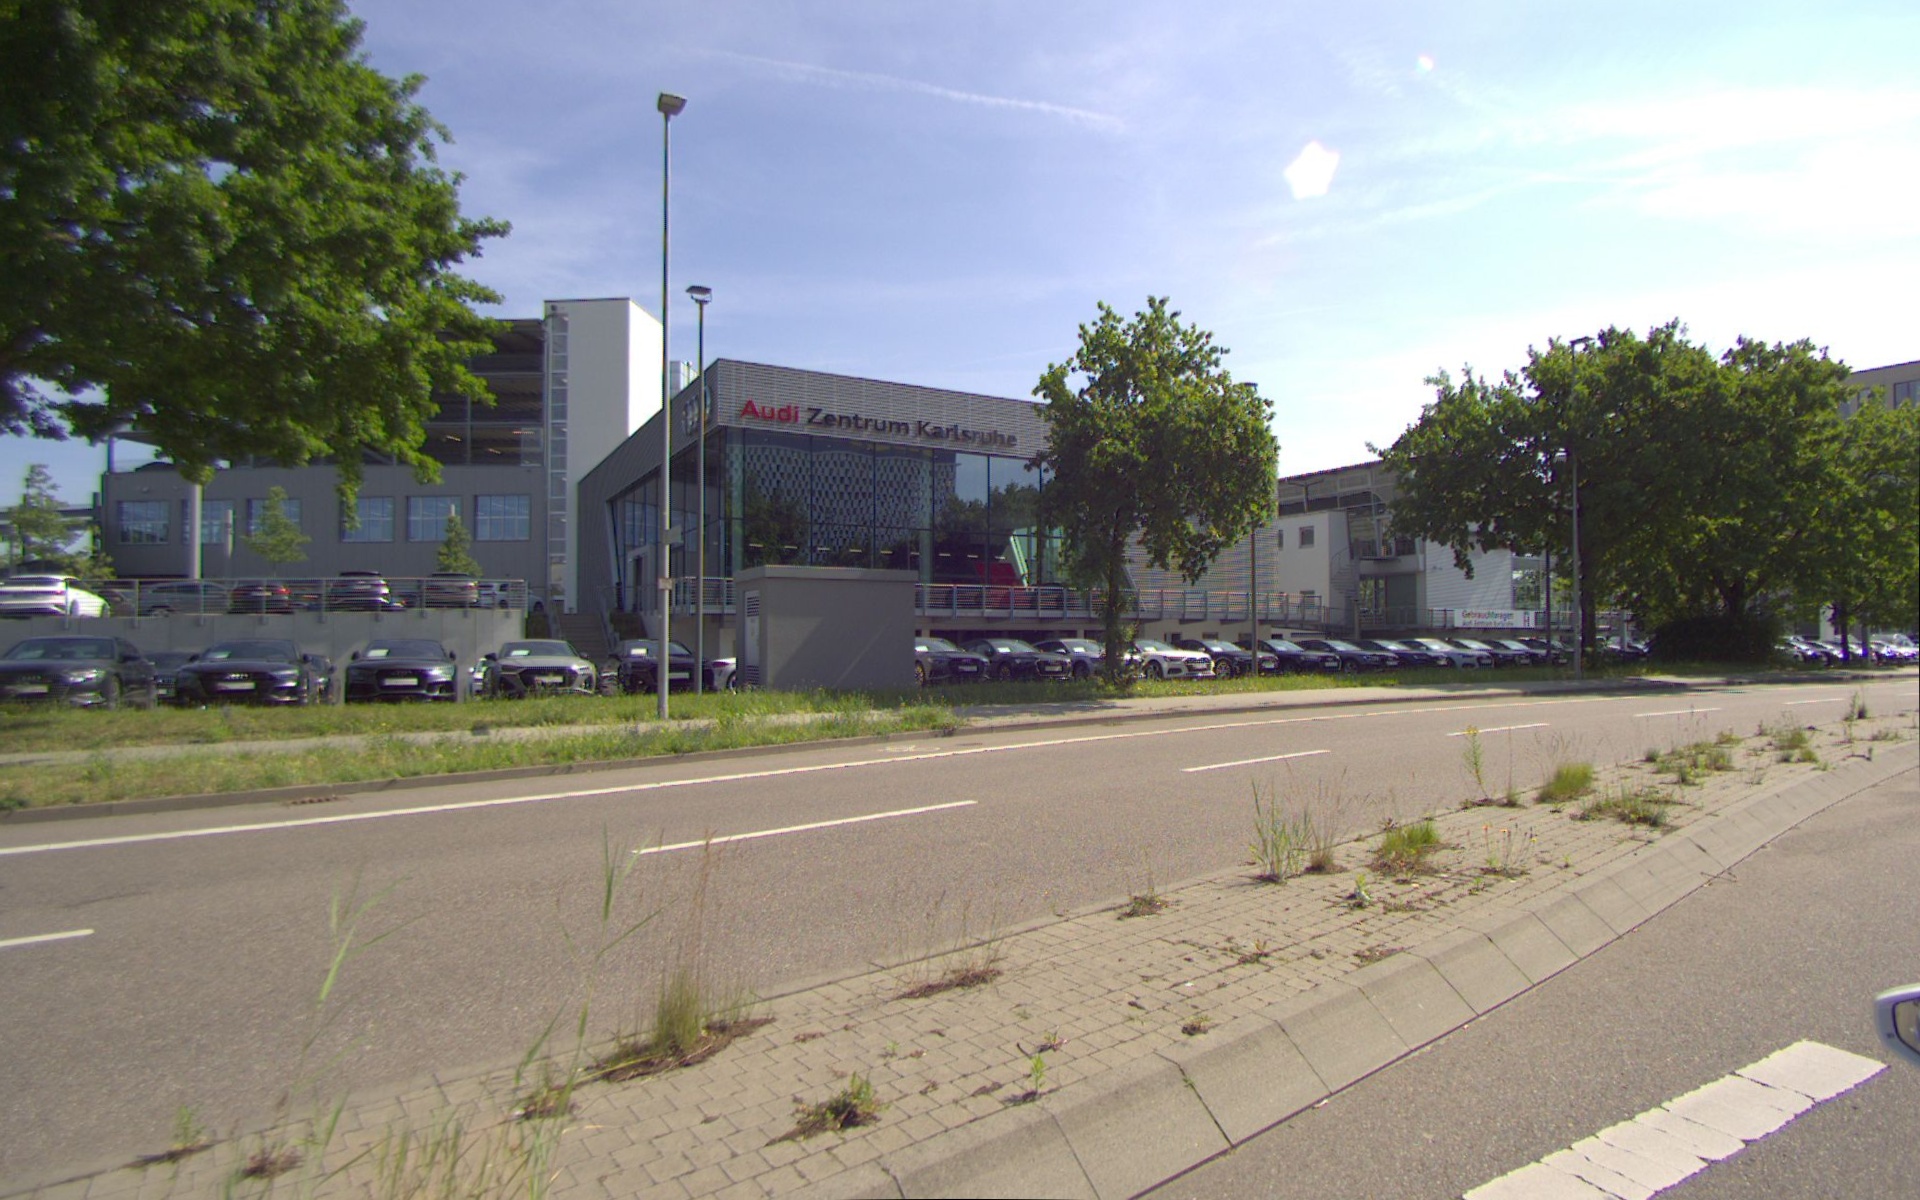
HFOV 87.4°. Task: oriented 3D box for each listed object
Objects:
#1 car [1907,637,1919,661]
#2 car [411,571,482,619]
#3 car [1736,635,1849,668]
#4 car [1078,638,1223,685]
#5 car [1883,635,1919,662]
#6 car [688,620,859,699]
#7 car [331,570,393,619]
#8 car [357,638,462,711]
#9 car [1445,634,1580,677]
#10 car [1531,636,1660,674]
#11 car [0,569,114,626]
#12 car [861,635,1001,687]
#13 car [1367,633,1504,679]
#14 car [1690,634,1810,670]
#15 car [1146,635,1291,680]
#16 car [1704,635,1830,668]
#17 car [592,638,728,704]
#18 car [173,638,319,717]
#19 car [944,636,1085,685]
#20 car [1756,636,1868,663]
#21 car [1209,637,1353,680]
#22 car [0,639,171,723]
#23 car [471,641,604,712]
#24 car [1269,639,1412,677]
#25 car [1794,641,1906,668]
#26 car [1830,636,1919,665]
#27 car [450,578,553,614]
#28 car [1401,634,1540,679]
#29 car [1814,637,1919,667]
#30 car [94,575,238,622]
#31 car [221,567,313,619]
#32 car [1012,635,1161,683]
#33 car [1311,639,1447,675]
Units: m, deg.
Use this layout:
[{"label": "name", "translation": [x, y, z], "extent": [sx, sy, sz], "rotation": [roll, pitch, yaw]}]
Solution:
[{"label": "car", "translation": [59.162, 2.841, 59.832], "extent": [1.620, 1.375, 3.581], "rotation": [0, -5, -28]}, {"label": "car", "translation": [-17.745, -0.136, 34.616], "extent": [1.962, 1.515, 4.499], "rotation": [1, -1, -30]}, {"label": "car", "translation": [40.635, 2.538, 49.145], "extent": [1.638, 1.437, 3.864], "rotation": [0, -5, -26]}, {"label": "car", "translation": [5.556, 1.845, 29.766], "extent": [1.933, 1.205, 4.155], "rotation": [1, -5, -31]}, {"label": "car", "translation": [56.887, 2.786, 58.697], "extent": [1.844, 1.483, 3.862], "rotation": [0, -5, -28]}, {"label": "car", "translation": [-4.798, 1.488, 25.924], "extent": [3.953, 1.901, 1.984], "rotation": [1, -2, -30]}, {"label": "car", "translation": [-19.788, -0.162, 33.347], "extent": [1.648, 1.515, 3.969], "rotation": [1, -1, -30]}, {"label": "car", "translation": [-11.207, 1.416, 20.327], "extent": [1.672, 1.307, 4.477], "rotation": [1, -2, -31]}, {"label": "car", "translation": [21.316, 2.163, 38.935], "extent": [1.976, 1.460, 4.124], "rotation": [1, -6, -29]}, {"label": "car", "translation": [26.104, 2.287, 41.382], "extent": [1.976, 1.376, 3.973], "rotation": [1, -6, -29]}, {"label": "car", "translation": [-26.696, -0.015, 29.624], "extent": [1.957, 1.504, 4.477], "rotation": [1, -2, -31]}, {"label": "car", "translation": [-0.834, 1.601, 25.907], "extent": [1.876, 1.171, 3.969], "rotation": [1, -5, -31]}, {"label": "car", "translation": [16.912, 2.030, 35.919], "extent": [1.976, 1.460, 3.973], "rotation": [1, -6, -29]}, {"label": "car", "translation": [36.228, 2.411, 46.153], "extent": [1.886, 1.437, 3.864], "rotation": [0, -5, -26]}, {"label": "car", "translation": [7.874, 1.804, 30.952], "extent": [1.933, 1.205, 4.155], "rotation": [1, -5, -31]}, {"label": "car", "translation": [38.306, 2.467, 47.783], "extent": [2.010, 1.348, 4.156], "rotation": [0, -5, -26]}, {"label": "car", "translation": [-6.870, 1.525, 22.697], "extent": [1.898, 1.307, 4.477], "rotation": [1, -2, -31]}, {"label": "car", "translation": [-13.437, 1.386, 19.153], "extent": [1.898, 1.307, 4.477], "rotation": [1, -2, -31]}, {"label": "car", "translation": [1.384, 1.661, 27.150], "extent": [1.876, 1.171, 3.969], "rotation": [1, -5, -31]}, {"label": "car", "translation": [42.973, 2.541, 50.744], "extent": [1.771, 1.167, 3.864], "rotation": [0, -5, -26]}, {"label": "car", "translation": [10.220, 1.899, 32.249], "extent": [1.933, 1.205, 4.155], "rotation": [1, -5, -31]}, {"label": "car", "translation": [-15.619, 1.352, 17.890], "extent": [1.898, 1.307, 4.477], "rotation": [1, -2, -31]}, {"label": "car", "translation": [-9.062, 1.534, 21.336], "extent": [1.981, 1.307, 4.477], "rotation": [1, -2, -31]}, {"label": "car", "translation": [12.593, 1.949, 33.484], "extent": [1.933, 1.091, 4.155], "rotation": [1, -5, -31]}, {"label": "car", "translation": [45.786, 2.833, 51.780], "extent": [1.886, 1.181, 3.864], "rotation": [0, -5, -26]}, {"label": "car", "translation": [50.171, 2.747, 54.621], "extent": [1.725, 1.382, 3.864], "rotation": [0, -5, -26]}, {"label": "car", "translation": [-20.390, -0.148, 44.903], "extent": [1.885, 1.483, 4.668], "rotation": [1, -1, 9]}, {"label": "car", "translation": [18.959, 2.140, 37.487], "extent": [1.976, 1.460, 4.233], "rotation": [1, -6, -29]}, {"label": "car", "translation": [48.196, 2.779, 53.328], "extent": [1.824, 1.350, 3.864], "rotation": [0, -5, -26]}, {"label": "car", "translation": [-28.128, -0.023, 35.739], "extent": [3.744, 1.594, 1.941], "rotation": [1, -1, -31]}, {"label": "car", "translation": [-21.967, -0.198, 31.995], "extent": [2.027, 1.515, 3.969], "rotation": [1, -1, -30]}, {"label": "car", "translation": [3.501, 1.711, 28.554], "extent": [2.063, 1.171, 4.155], "rotation": [1, -5, -31]}, {"label": "car", "translation": [14.319, 1.976, 34.518], "extent": [1.678, 1.047, 4.089], "rotation": [1, -5, -31]}]
